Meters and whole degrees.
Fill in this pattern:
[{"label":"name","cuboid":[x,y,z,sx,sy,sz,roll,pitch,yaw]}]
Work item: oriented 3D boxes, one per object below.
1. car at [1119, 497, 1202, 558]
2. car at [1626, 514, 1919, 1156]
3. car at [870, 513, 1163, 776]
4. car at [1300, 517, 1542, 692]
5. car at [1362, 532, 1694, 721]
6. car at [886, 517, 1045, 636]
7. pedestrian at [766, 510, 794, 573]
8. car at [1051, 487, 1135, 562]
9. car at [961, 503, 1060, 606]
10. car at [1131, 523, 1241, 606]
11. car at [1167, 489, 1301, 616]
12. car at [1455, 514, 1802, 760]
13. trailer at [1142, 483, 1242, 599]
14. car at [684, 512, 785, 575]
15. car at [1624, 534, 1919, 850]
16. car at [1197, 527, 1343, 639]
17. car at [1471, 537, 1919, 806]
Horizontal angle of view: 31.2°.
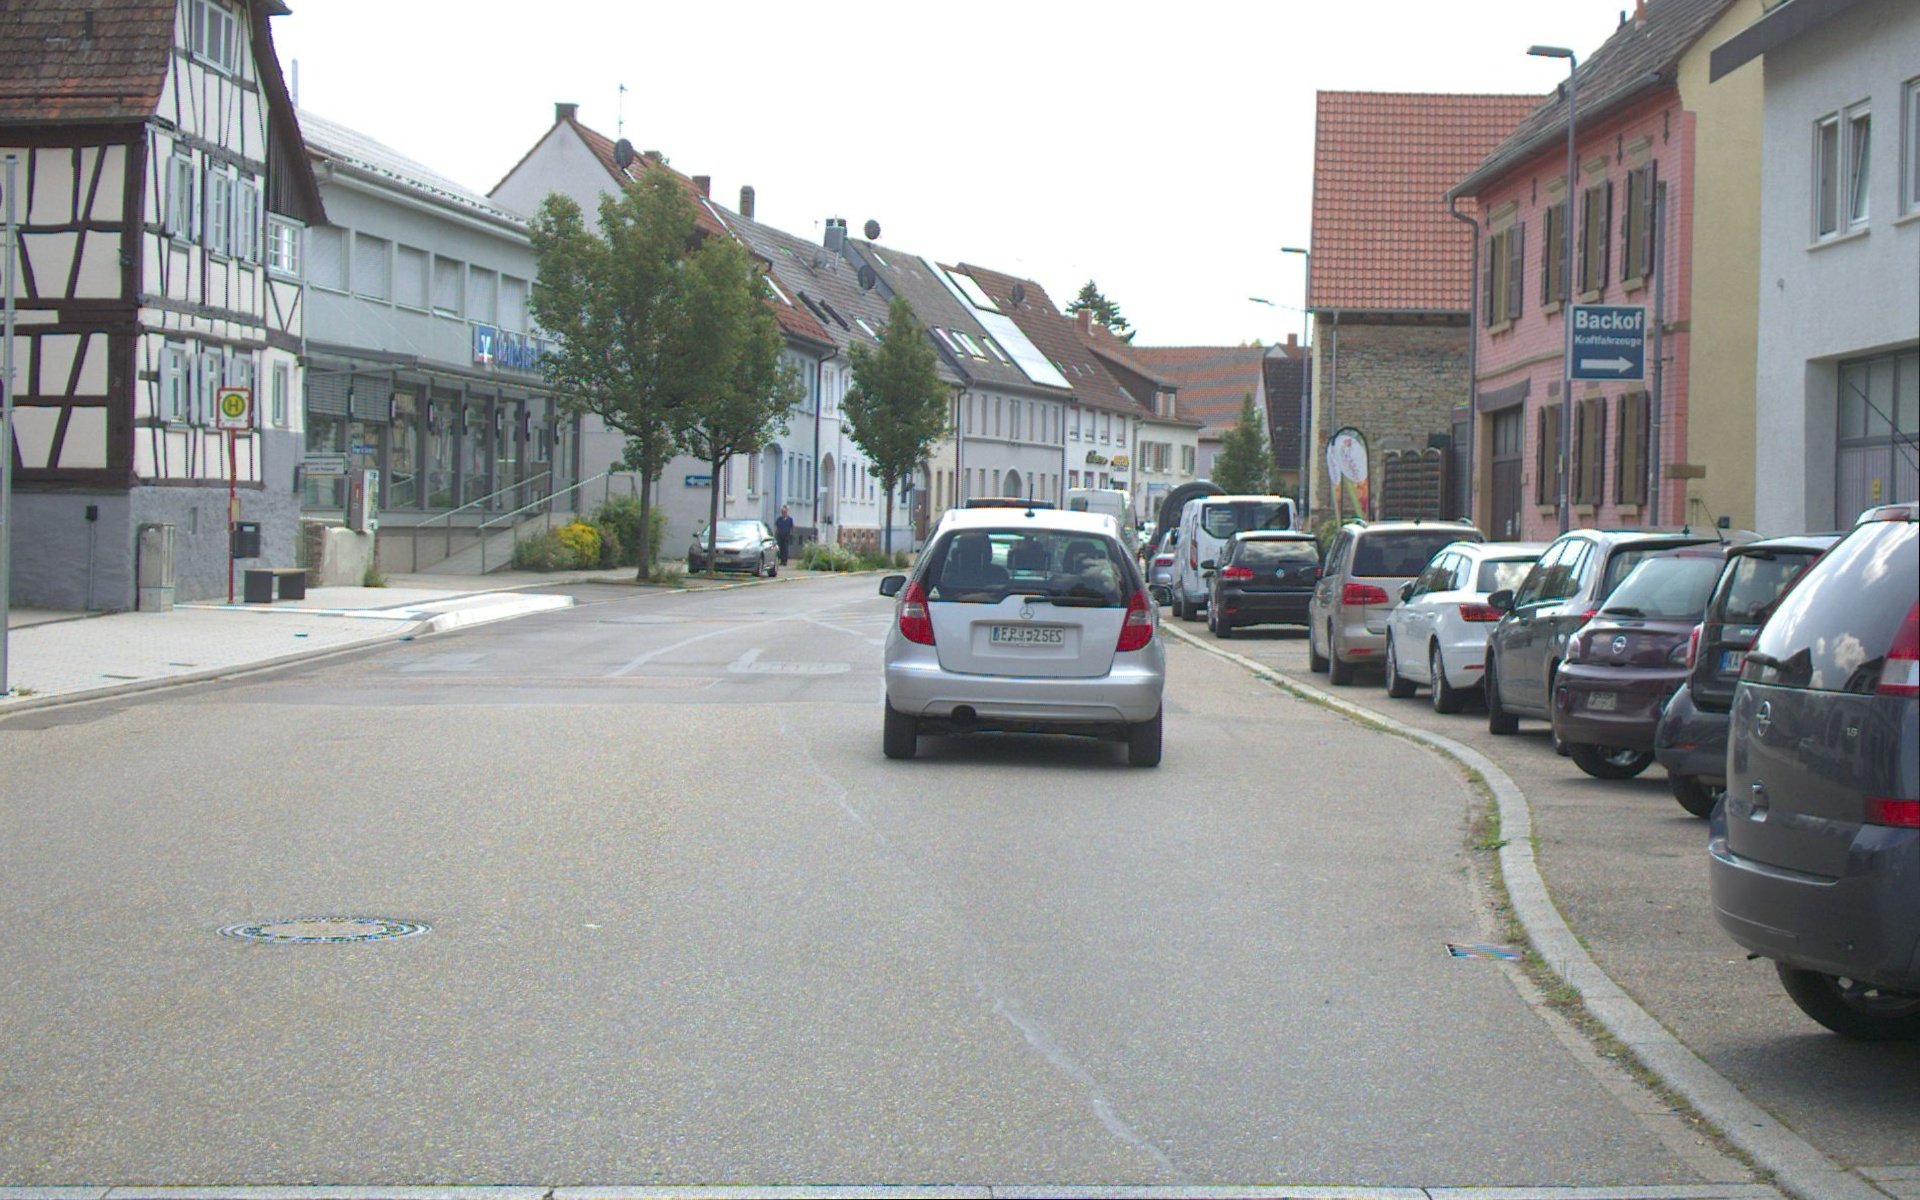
[{"label":"car","cuboid":[5.262,-1.921,90.762,1.993,1.554,4.000,0,2,1]},{"label":"car","cuboid":[3.960,0.536,9.456,3.848,1.572,1.851,-1,1,-2]},{"label":"car","cuboid":[0.324,0.229,22.770,1.769,1.589,4.000,0,1,-1]},{"label":"car","cuboid":[4.697,-0.005,35.627,1.993,1.675,4.323,1,1,1]},{"label":"car","cuboid":[4.915,0.176,30.399,1.993,1.512,4.372,1,1,-3]},{"label":"car","cuboid":[0.091,-0.338,44.626,1.945,1.402,4.000,1,2,1]},{"label":"pedestrian","cuboid":[-5.146,-1.669,98.289,0.739,1.795,0.642,0,0,3]},{"label":"car","cuboid":[4.068,-2.262,104.291,2.236,2.214,3.999,0,1,7]},{"label":"car","cuboid":[1.044,-0.915,68.888,1.769,1.881,4.447,4,1,2]},{"label":"car","cuboid":[4.335,-0.717,66.496,1.875,1.476,4.675,2,2,1]},{"label":"car","cuboid":[4.484,-0.811,56.884,1.892,1.975,4.931,-1,1,1]},{"label":"car","cuboid":[4.778,0.194,25.130,1.662,1.619,4.272,1,2,0]},{"label":"trailer","cuboid":[4.801,-1.245,71.597,1.845,2.346,3.590,0,2,1]},{"label":"car","cuboid":[-5.525,-1.408,84.642,1.805,1.455,4.157,2,2,5]},{"label":"car","cuboid":[5.186,0.427,17.944,2.778,1.499,1.878,0,2,-22]},{"label":"car","cuboid":[4.370,-0.271,48.923,1.774,1.490,4.162,1,1,1]},{"label":"car","cuboid":[4.979,0.385,20.928,3.225,1.499,1.827,0,2,-28]}]
